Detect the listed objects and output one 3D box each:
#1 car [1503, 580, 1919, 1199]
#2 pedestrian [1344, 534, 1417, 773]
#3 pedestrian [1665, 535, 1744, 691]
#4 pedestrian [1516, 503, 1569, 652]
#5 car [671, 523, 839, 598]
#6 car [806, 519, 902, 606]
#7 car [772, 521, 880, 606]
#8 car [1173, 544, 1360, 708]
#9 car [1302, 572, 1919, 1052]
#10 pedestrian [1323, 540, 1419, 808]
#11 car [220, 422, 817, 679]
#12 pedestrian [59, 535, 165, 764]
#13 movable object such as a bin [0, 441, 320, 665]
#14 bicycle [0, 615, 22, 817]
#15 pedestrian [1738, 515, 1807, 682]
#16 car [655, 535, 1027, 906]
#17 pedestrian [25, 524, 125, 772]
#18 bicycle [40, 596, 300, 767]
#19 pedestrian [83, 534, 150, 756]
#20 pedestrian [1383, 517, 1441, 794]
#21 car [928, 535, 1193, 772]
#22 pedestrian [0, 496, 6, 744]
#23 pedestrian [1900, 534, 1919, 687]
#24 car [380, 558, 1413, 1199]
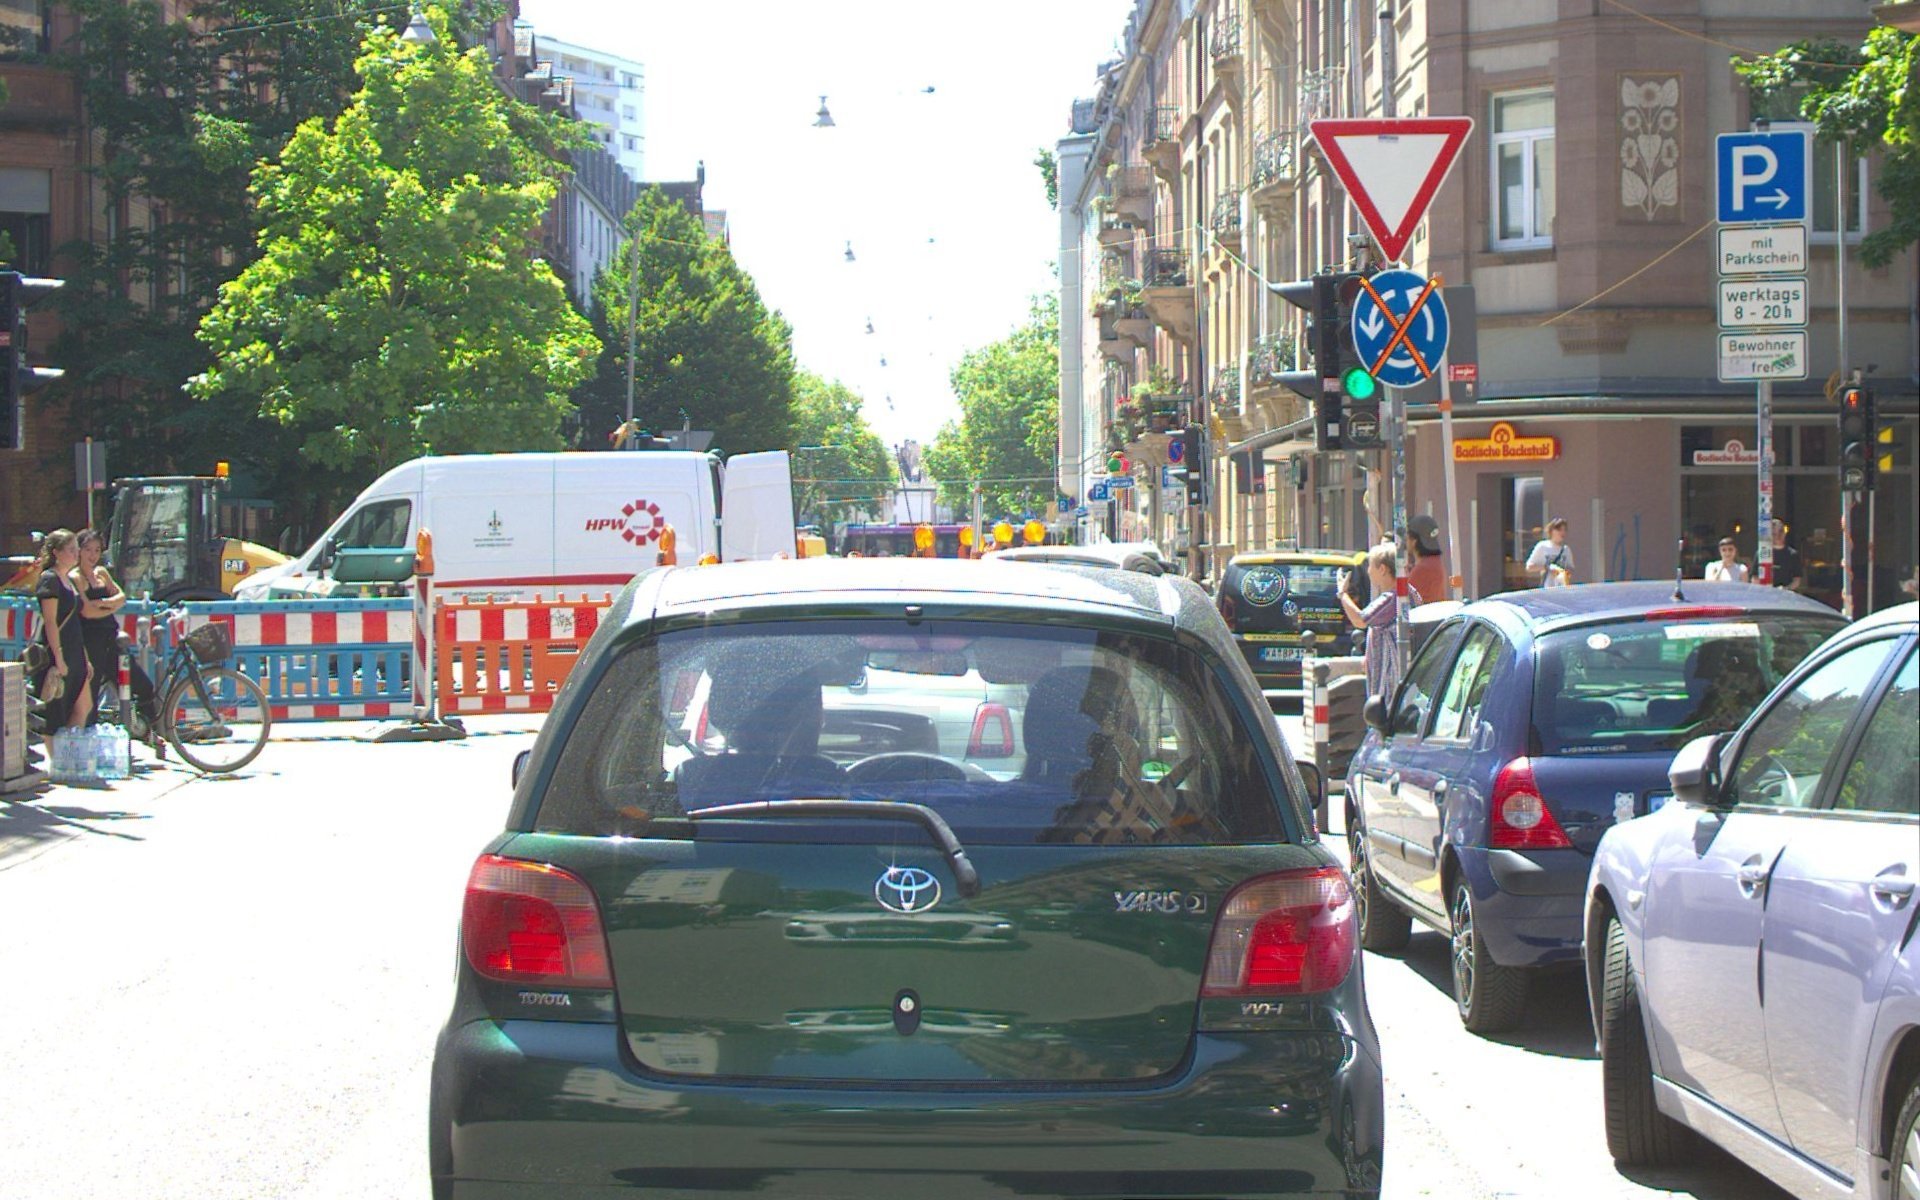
[{"bbox_3d":[2.436,0.693,7.103,1.725,1.427,4.486,-1,1,-2],"label":"car"},{"bbox_3d":[2.765,0.345,22.627,0.459,1.555,0.479,0,1,6],"label":"pedestrian"},{"bbox_3d":[8.083,0.133,37.328,0.701,1.639,0.423,-2,4,-8],"label":"pedestrian"},{"bbox_3d":[6.808,-0.258,40.192,0.478,1.727,0.871,0,0,19],"label":"pedestrian"},{"bbox_3d":[-6.105,-1.181,102.288,4.557,2.180,2.000,0,1,-27],"label":"car"},{"bbox_3d":[-2.128,-0.765,70.112,1.754,1.639,4.378,-3,1,0],"label":"car"},{"bbox_3d":[-2.333,-0.647,60.510,1.754,1.439,4.000,-1,1,0],"label":"car"},{"bbox_3d":[2.913,0.205,32.388,1.627,1.427,3.659,-1,1,6],"label":"car"},{"bbox_3d":[2.313,0.637,12.425,1.627,1.427,3.661,-1,1,-2],"label":"car"},{"bbox_3d":[2.405,0.424,20.149,0.493,1.538,0.436,-2,0,6],"label":"pedestrian"},{"bbox_3d":[-5.094,-0.585,40.442,6.622,2.742,2.380,2,1,1],"label":"car"},{"bbox_3d":[-5.902,0.338,23.932,0.496,1.560,0.459,3,2,26],"label":"pedestrian"},{"bbox_3d":[-10.535,-0.606,43.164,4.543,2.650,1.955,2,1,1],"label":"movable object such as a bin"},{"bbox_3d":[-6.279,0.622,19.410,1.797,1.119,0.578,2,0,-6],"label":"bicycle"},{"bbox_3d":[8.862,-0.019,37.507,0.575,1.762,0.472,-2,4,-8],"label":"pedestrian"},{"bbox_3d":[-0.514,0.463,15.698,1.522,1.516,3.264,0,1,-1],"label":"car"},{"bbox_3d":[-5.858,0.310,22.773,0.541,1.627,0.511,0,1,-3],"label":"pedestrian"},{"bbox_3d":[-5.559,0.558,24.173,1.806,1.115,0.467,2,1,21],"label":"bicycle"},{"bbox_3d":[-6.180,0.321,25.209,0.389,1.612,0.475,0,1,-3],"label":"pedestrian"},{"bbox_3d":[2.756,0.332,20.970,0.332,1.670,0.401,0,1,6],"label":"pedestrian"},{"bbox_3d":[0.782,0.327,24.773,1.523,1.587,3.263,0,1,9],"label":"car"},{"bbox_3d":[-7.244,0.148,24.905,0.509,1.813,0.600,0,1,-3],"label":"pedestrian"},{"bbox_3d":[10.473,0.109,36.604,0.801,1.618,0.643,0,1,6],"label":"pedestrian"},{"bbox_3d":[-0.068,0.667,7.040,1.614,1.480,3.241,1,1,1],"label":"car"}]
